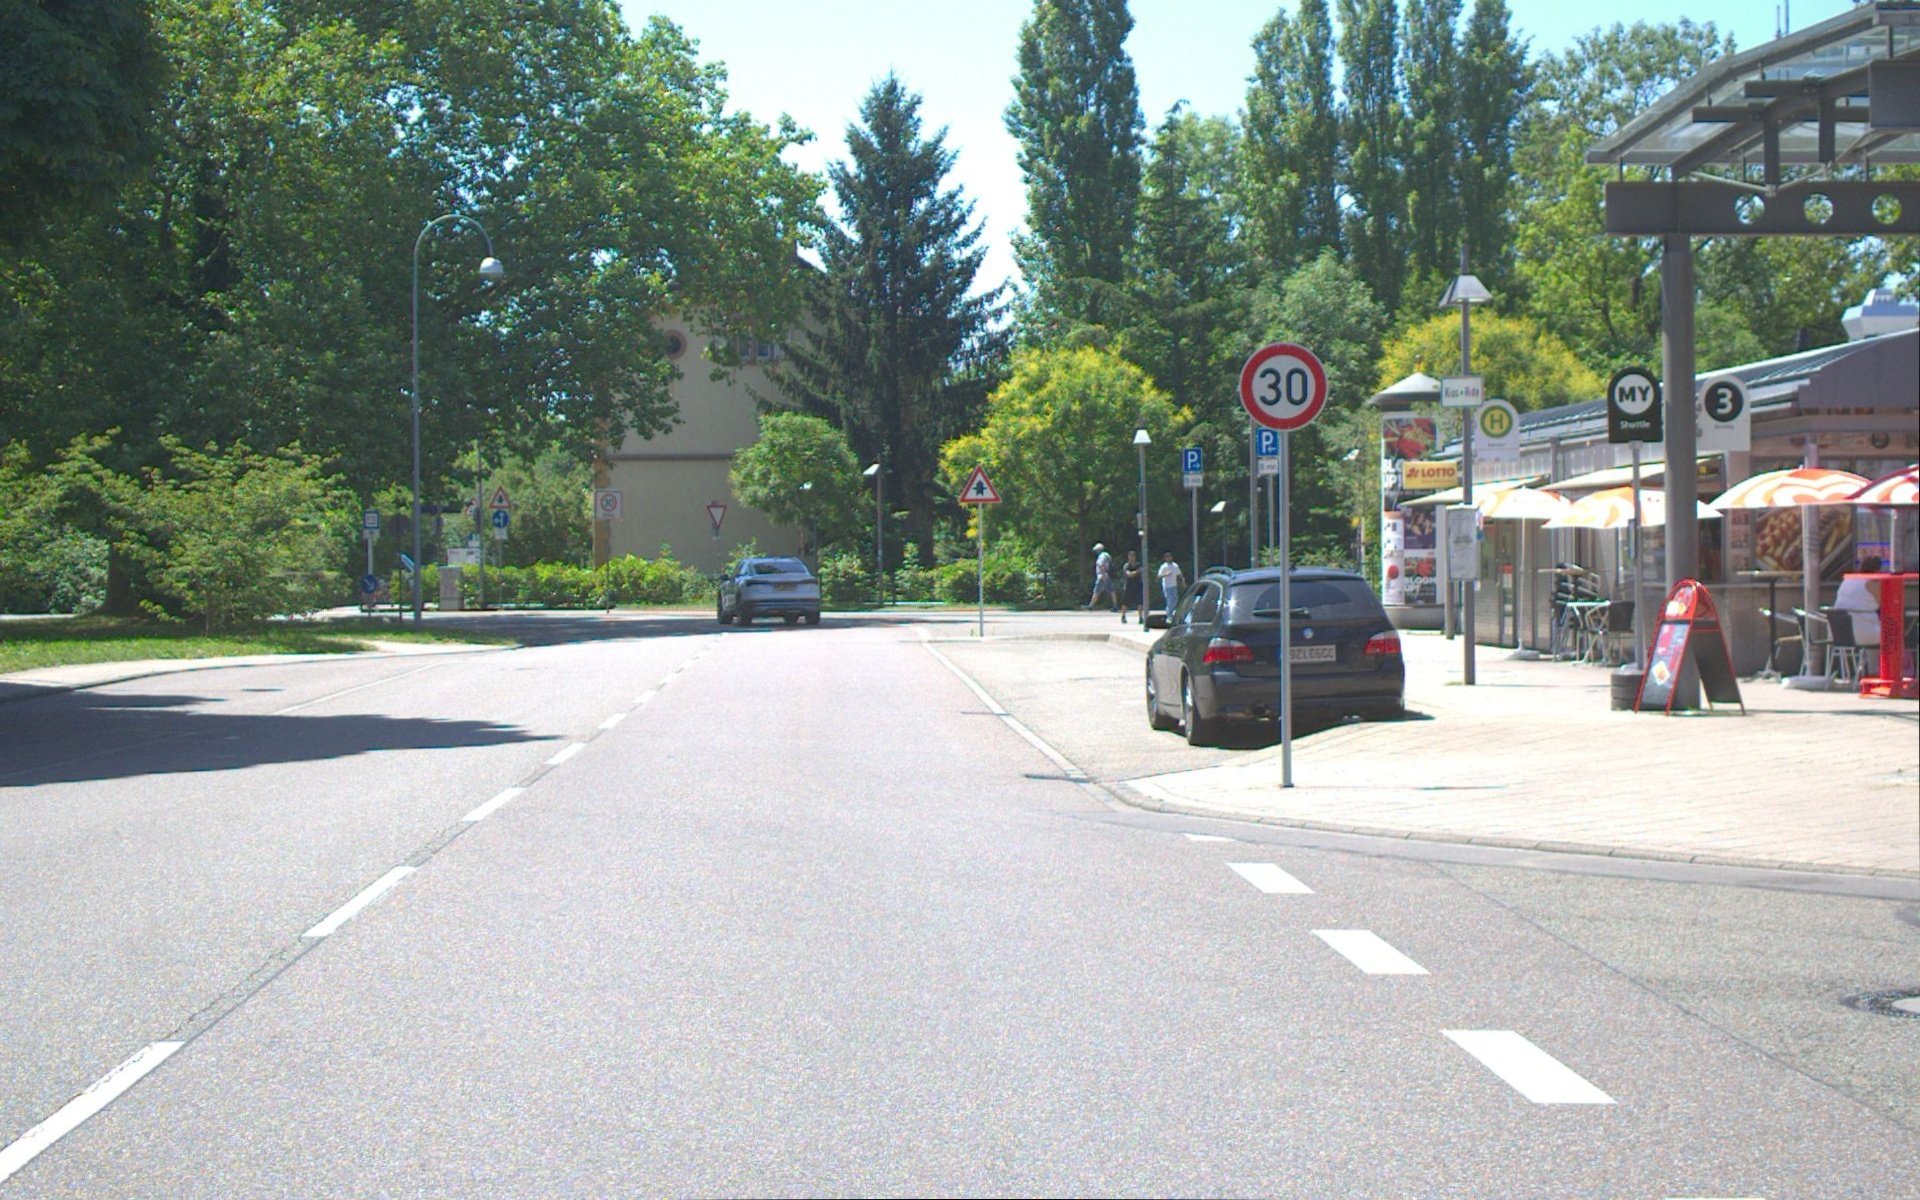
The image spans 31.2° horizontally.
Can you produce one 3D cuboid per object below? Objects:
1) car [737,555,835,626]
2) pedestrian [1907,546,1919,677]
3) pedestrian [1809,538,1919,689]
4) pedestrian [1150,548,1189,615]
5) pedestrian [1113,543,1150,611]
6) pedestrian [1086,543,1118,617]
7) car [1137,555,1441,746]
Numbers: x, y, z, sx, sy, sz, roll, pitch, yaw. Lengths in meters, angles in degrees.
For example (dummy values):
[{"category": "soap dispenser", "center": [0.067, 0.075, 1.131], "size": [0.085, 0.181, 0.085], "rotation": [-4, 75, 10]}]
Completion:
[{"category": "car", "center": [-4.179, -0.252, 83.231], "size": [1.983, 1.621, 4.778], "rotation": [0, 1, 2]}, {"category": "pedestrian", "center": [10.013, 0.111, 34.278], "size": [0.892, 1.308, 0.688], "rotation": [-1, 1, -37]}, {"category": "pedestrian", "center": [8.623, 0.121, 32.640], "size": [0.892, 1.413, 0.688], "rotation": [-1, 1, -39]}, {"category": "pedestrian", "center": [5.189, -0.455, 85.059], "size": [0.721, 1.644, 0.750], "rotation": [0, -1, 26]}, {"category": "pedestrian", "center": [4.169, -0.557, 83.564], "size": [0.636, 1.644, 0.750], "rotation": [0, -1, 26]}, {"category": "pedestrian", "center": [3.777, -0.532, 91.377], "size": [0.854, 1.959, 0.806], "rotation": [0, 1, 3]}, {"category": "car", "center": [2.798, 0.384, 30.303], "size": [1.926, 1.455, 4.725], "rotation": [-3, 1, -3]}]
